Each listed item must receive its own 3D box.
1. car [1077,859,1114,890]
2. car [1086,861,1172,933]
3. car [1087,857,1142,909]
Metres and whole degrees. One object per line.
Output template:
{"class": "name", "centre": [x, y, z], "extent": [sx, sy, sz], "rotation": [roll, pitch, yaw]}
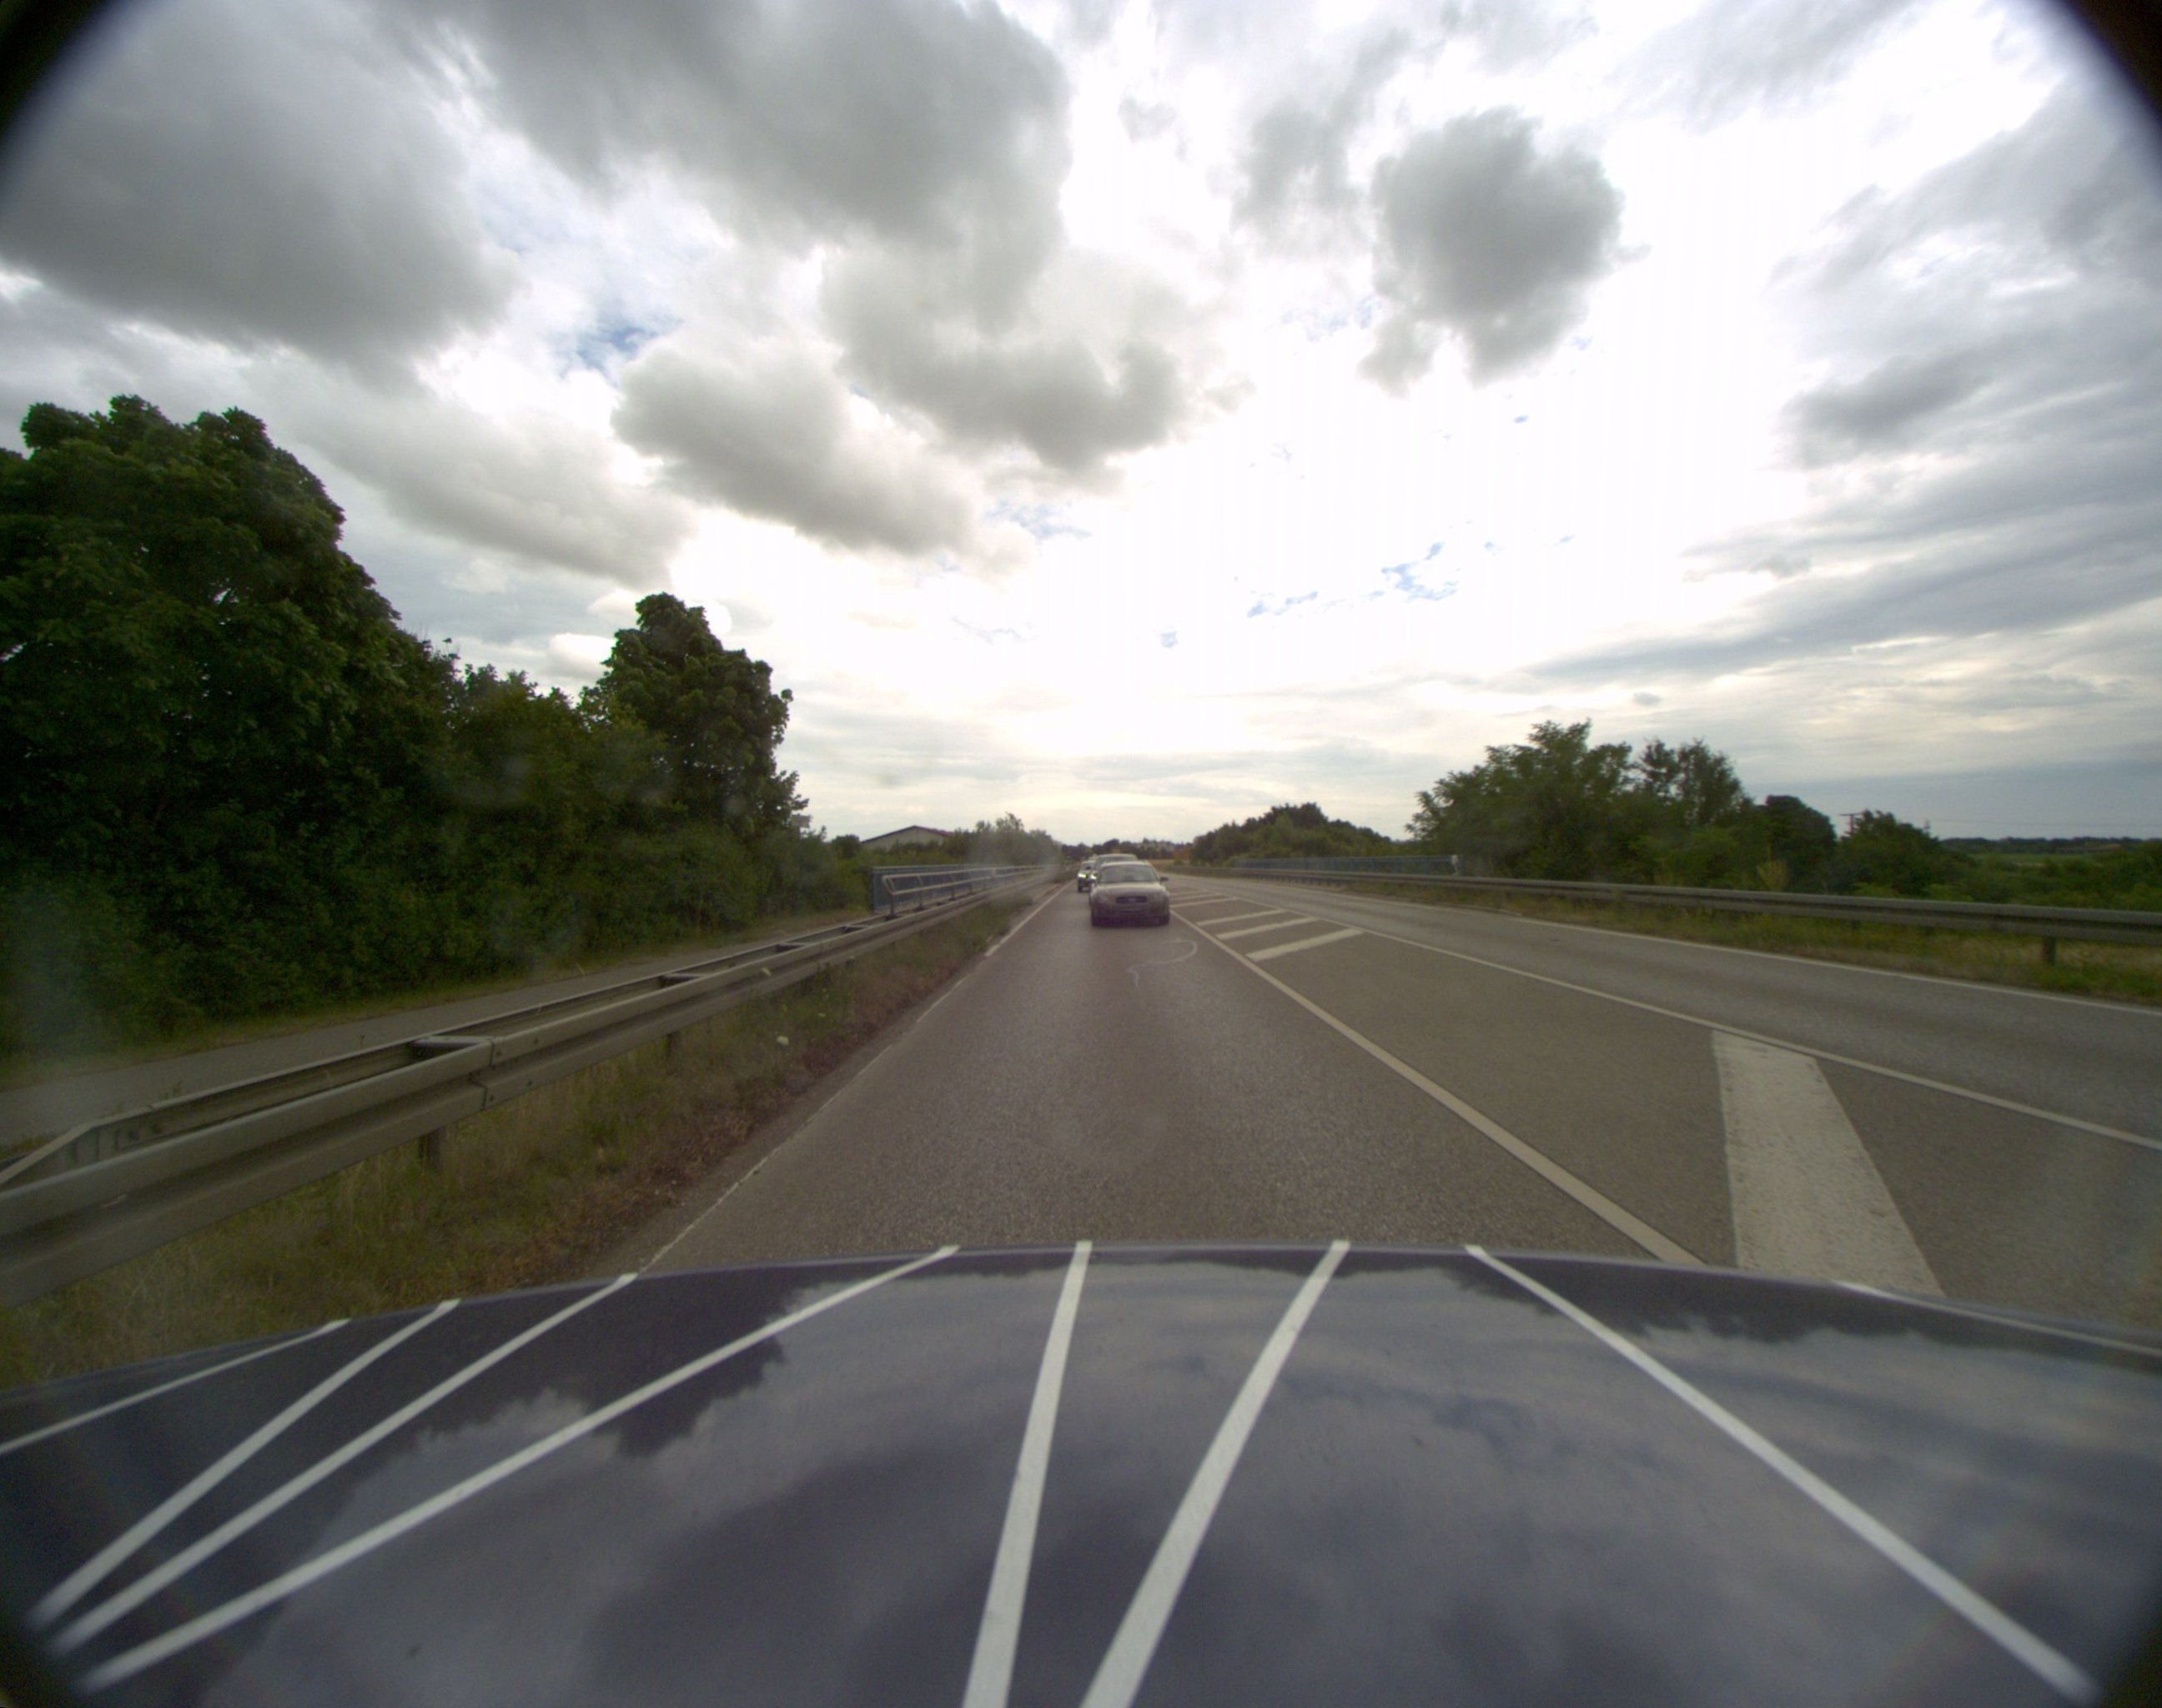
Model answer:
{"class": "car", "centre": [0.708, 0.983, 37.835], "extent": [1.670, 1.339, 4.000], "rotation": [-2, 0, 1]}
{"class": "car", "centre": [1.044, 0.939, 18.036], "extent": [1.768, 1.383, 3.876], "rotation": [-2, 1, 1]}
{"class": "car", "centre": [1.095, 0.929, 25.981], "extent": [1.684, 1.521, 4.000], "rotation": [-2, 0, 1]}
